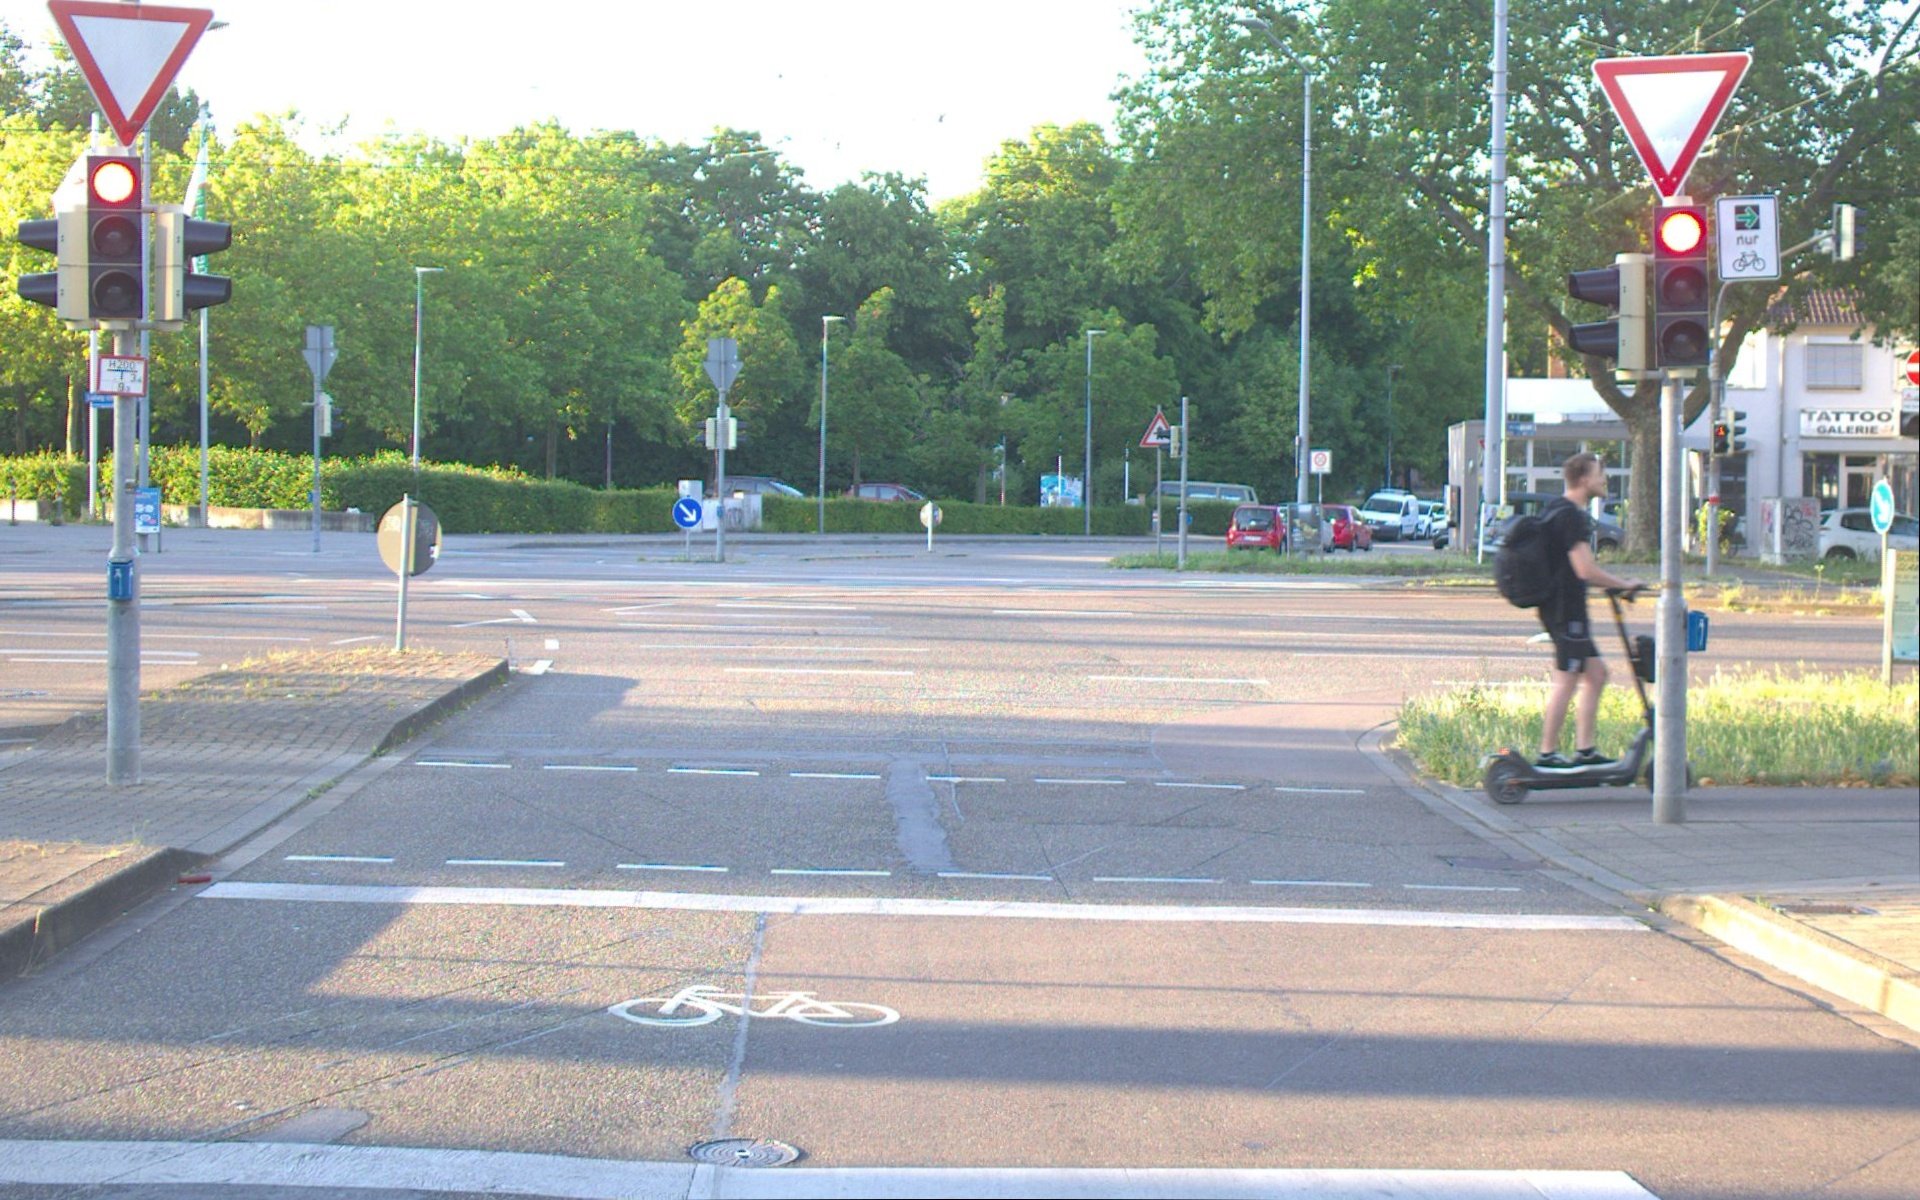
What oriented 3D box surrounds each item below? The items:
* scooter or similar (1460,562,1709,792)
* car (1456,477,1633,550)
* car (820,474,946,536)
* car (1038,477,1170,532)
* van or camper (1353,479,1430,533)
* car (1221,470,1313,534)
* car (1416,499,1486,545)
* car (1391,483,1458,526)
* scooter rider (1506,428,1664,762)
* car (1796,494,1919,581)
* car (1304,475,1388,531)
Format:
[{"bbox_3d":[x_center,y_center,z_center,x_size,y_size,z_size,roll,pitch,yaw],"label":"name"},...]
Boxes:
[{"bbox_3d":[3.375,0.411,18.631,1.213,1.196,0.503,1,3,-5],"label":"scooter or similar"},{"bbox_3d":[15.654,-2.343,92.254,4.468,1.810,1.945,1,3,5],"label":"car"},{"bbox_3d":[-2.523,-3.099,112.224,4.062,1.898,1.788,1,3,-1],"label":"car"},{"bbox_3d":[5.271,-3.515,125.731,4.685,1.862,2.013,1,3,6],"label":"car"},{"bbox_3d":[16.815,-3.676,133.934,1.627,1.975,3.801,3,4,29],"label":"van or camper"},{"bbox_3d":[8.850,-2.836,98.874,1.499,1.754,3.399,2,4,26],"label":"car"},{"bbox_3d":[16.846,-2.686,117.892,1.499,1.472,3.080,2,4,26],"label":"car"},{"bbox_3d":[18.607,-3.831,137.604,1.499,1.600,3.398,3,4,29],"label":"car"},{"bbox_3d":[3.377,-0.032,18.600,0.705,1.776,0.443,1,3,-4],"label":"scooter rider"},{"bbox_3d":[20.888,-1.363,75.625,4.467,1.810,1.945,1,3,1],"label":"car"},{"bbox_3d":[11.940,-3.013,106.235,1.499,1.600,3.399,2,4,26],"label":"car"}]
